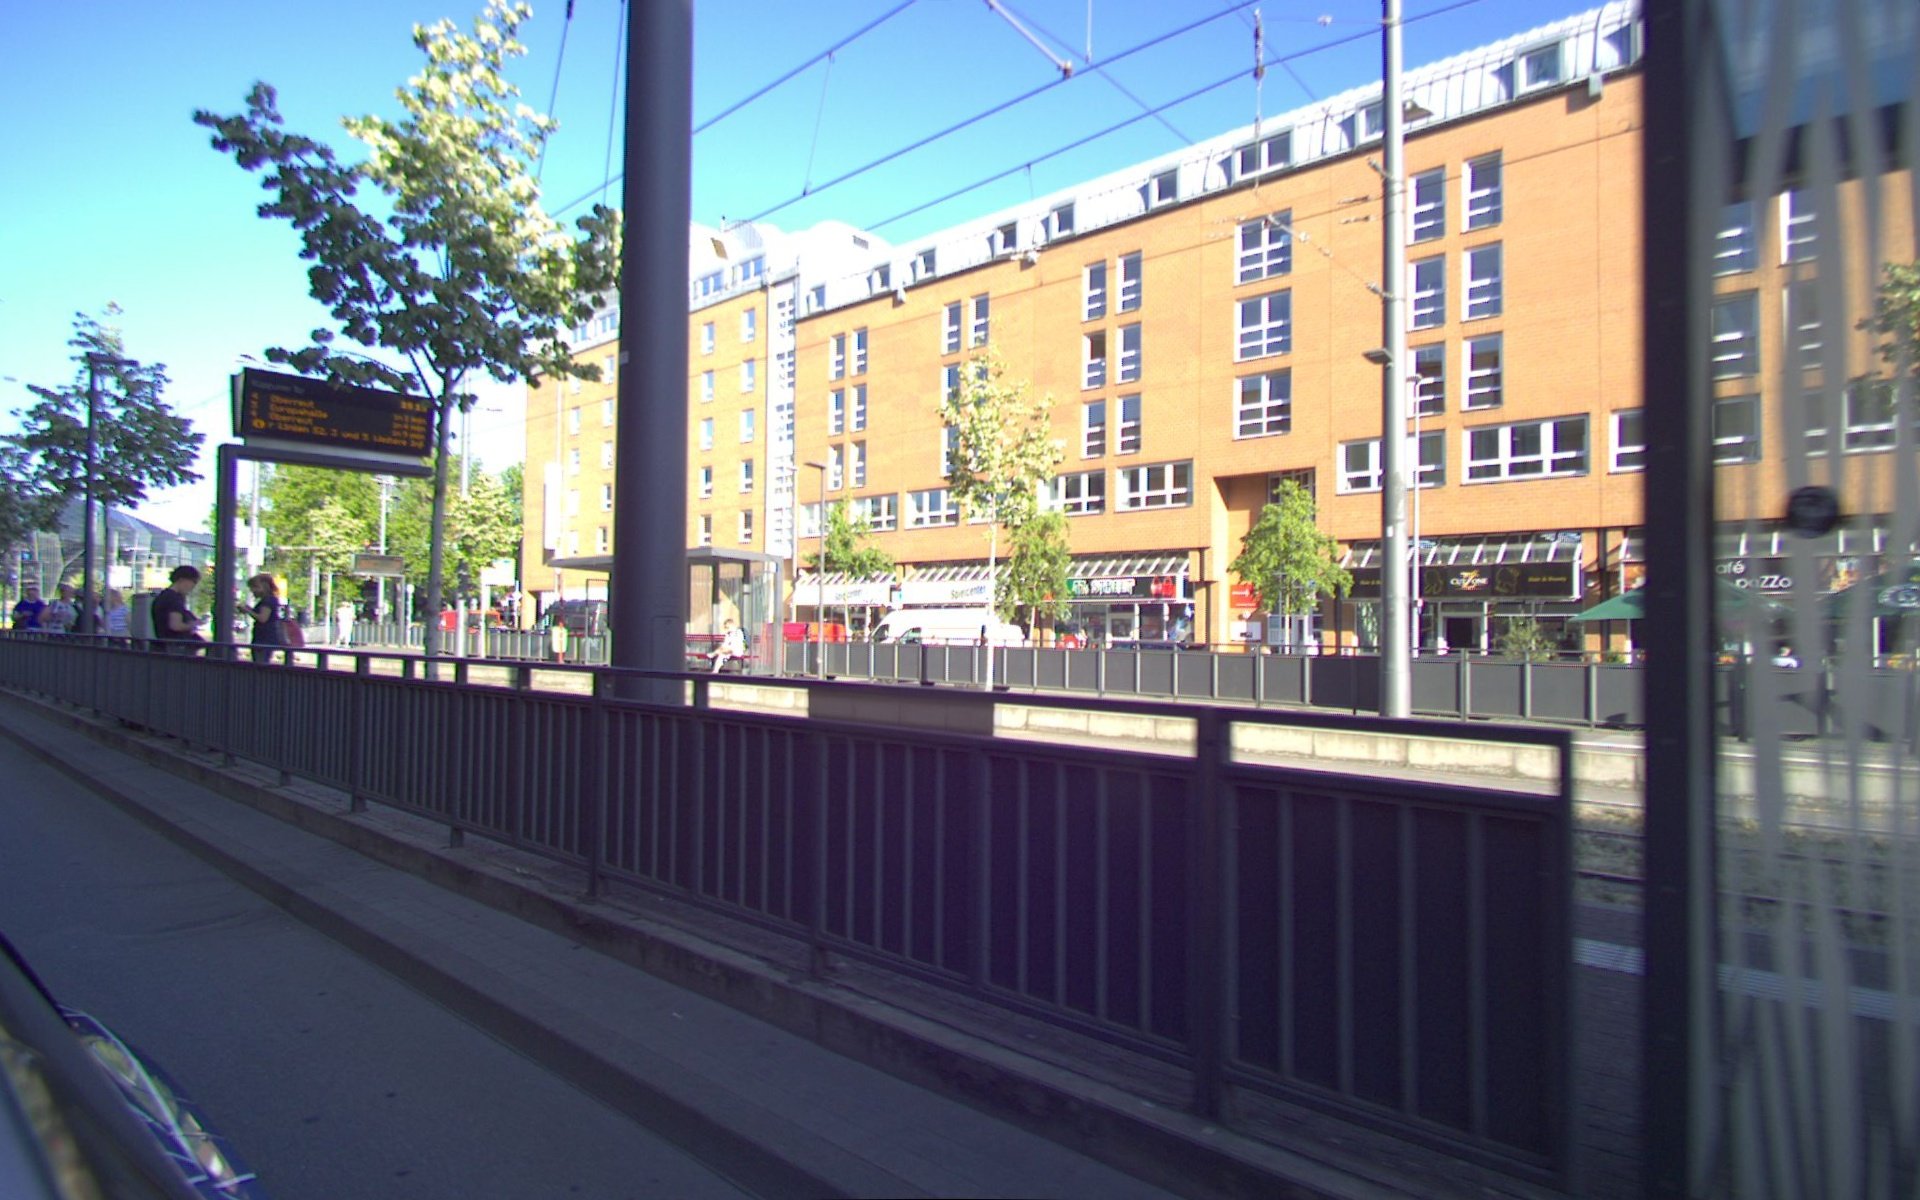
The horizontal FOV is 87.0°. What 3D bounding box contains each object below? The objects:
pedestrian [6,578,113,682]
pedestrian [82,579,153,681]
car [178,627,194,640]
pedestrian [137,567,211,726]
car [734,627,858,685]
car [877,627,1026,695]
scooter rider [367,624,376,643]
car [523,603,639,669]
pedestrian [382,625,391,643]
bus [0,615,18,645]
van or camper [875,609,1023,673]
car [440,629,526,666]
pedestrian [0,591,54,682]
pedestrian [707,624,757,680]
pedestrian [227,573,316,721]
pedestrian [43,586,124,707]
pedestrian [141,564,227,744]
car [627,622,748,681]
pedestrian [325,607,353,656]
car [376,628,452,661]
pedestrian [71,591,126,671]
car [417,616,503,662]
[{"bbox_3d":[-15.107,0.507,17.018,0.876,1.685,1.098,1,-2,-12],"label":"pedestrian"},{"bbox_3d":[-14.271,0.516,17.158,0.648,1.685,0.673,1,-2,-13],"label":"pedestrian"},{"bbox_3d":[-126.295,5.430,165.095,1.584,2.029,3.898,2,-2,-30],"label":"car"},{"bbox_3d":[-8.941,0.524,11.511,0.651,1.745,0.499,-1,-3,40],"label":"pedestrian"},{"bbox_3d":[-5.661,1.908,34.679,4.312,1.881,1.867,-2,-4,40],"label":"car"},{"bbox_3d":[-0.306,1.769,29.860,4.316,1.881,1.865,-3,-4,44],"label":"car"},{"bbox_3d":[-58.495,3.334,100.628,0.578,1.847,0.765,1,-2,-16],"label":"scooter rider"},{"bbox_3d":[-14.559,1.379,38.765,4.916,2.376,2.024,-1,-3,40],"label":"car"},{"bbox_3d":[-57.777,3.427,101.952,0.661,1.810,0.571,1,-2,-19],"label":"pedestrian"},{"bbox_3d":[-114.895,3.630,121.318,2.685,3.434,9.677,2,-4,-43],"label":"bus"},{"bbox_3d":[-0.499,1.555,37.073,5.614,2.186,1.972,-4,-4,43],"label":"van or camper"},{"bbox_3d":[-20.887,2.075,44.259,3.996,1.544,1.867,-2,-4,39],"label":"car"},{"bbox_3d":[-17.807,0.695,19.160,0.876,1.685,0.673,2,-3,-38],"label":"pedestrian"},{"bbox_3d":[-5.041,1.145,22.392,0.906,1.199,0.666,-1,-3,41],"label":"pedestrian"},{"bbox_3d":[-8.422,0.565,12.379,0.651,1.745,0.712,-1,-3,40],"label":"pedestrian"},{"bbox_3d":[-11.932,0.622,13.778,0.906,1.574,0.666,-1,-3,41],"label":"pedestrian"},{"bbox_3d":[-7.596,0.516,9.906,0.651,1.691,0.499,-1,-3,40],"label":"pedestrian"},{"bbox_3d":[-9.225,1.727,34.129,4.313,1.881,1.866,-2,-4,41],"label":"car"},{"bbox_3d":[-21.894,1.112,35.662,0.668,1.696,0.577,1,-2,-16],"label":"pedestrian"},{"bbox_3d":[-26.623,2.186,49.352,3.996,1.544,1.867,-2,-4,39],"label":"car"},{"bbox_3d":[-16.519,0.597,19.427,0.673,1.494,0.831,1,-2,-34],"label":"pedestrian"},{"bbox_3d":[-26.430,2.025,53.433,5.259,2.306,2.058,-1,-3,39],"label":"car"}]
